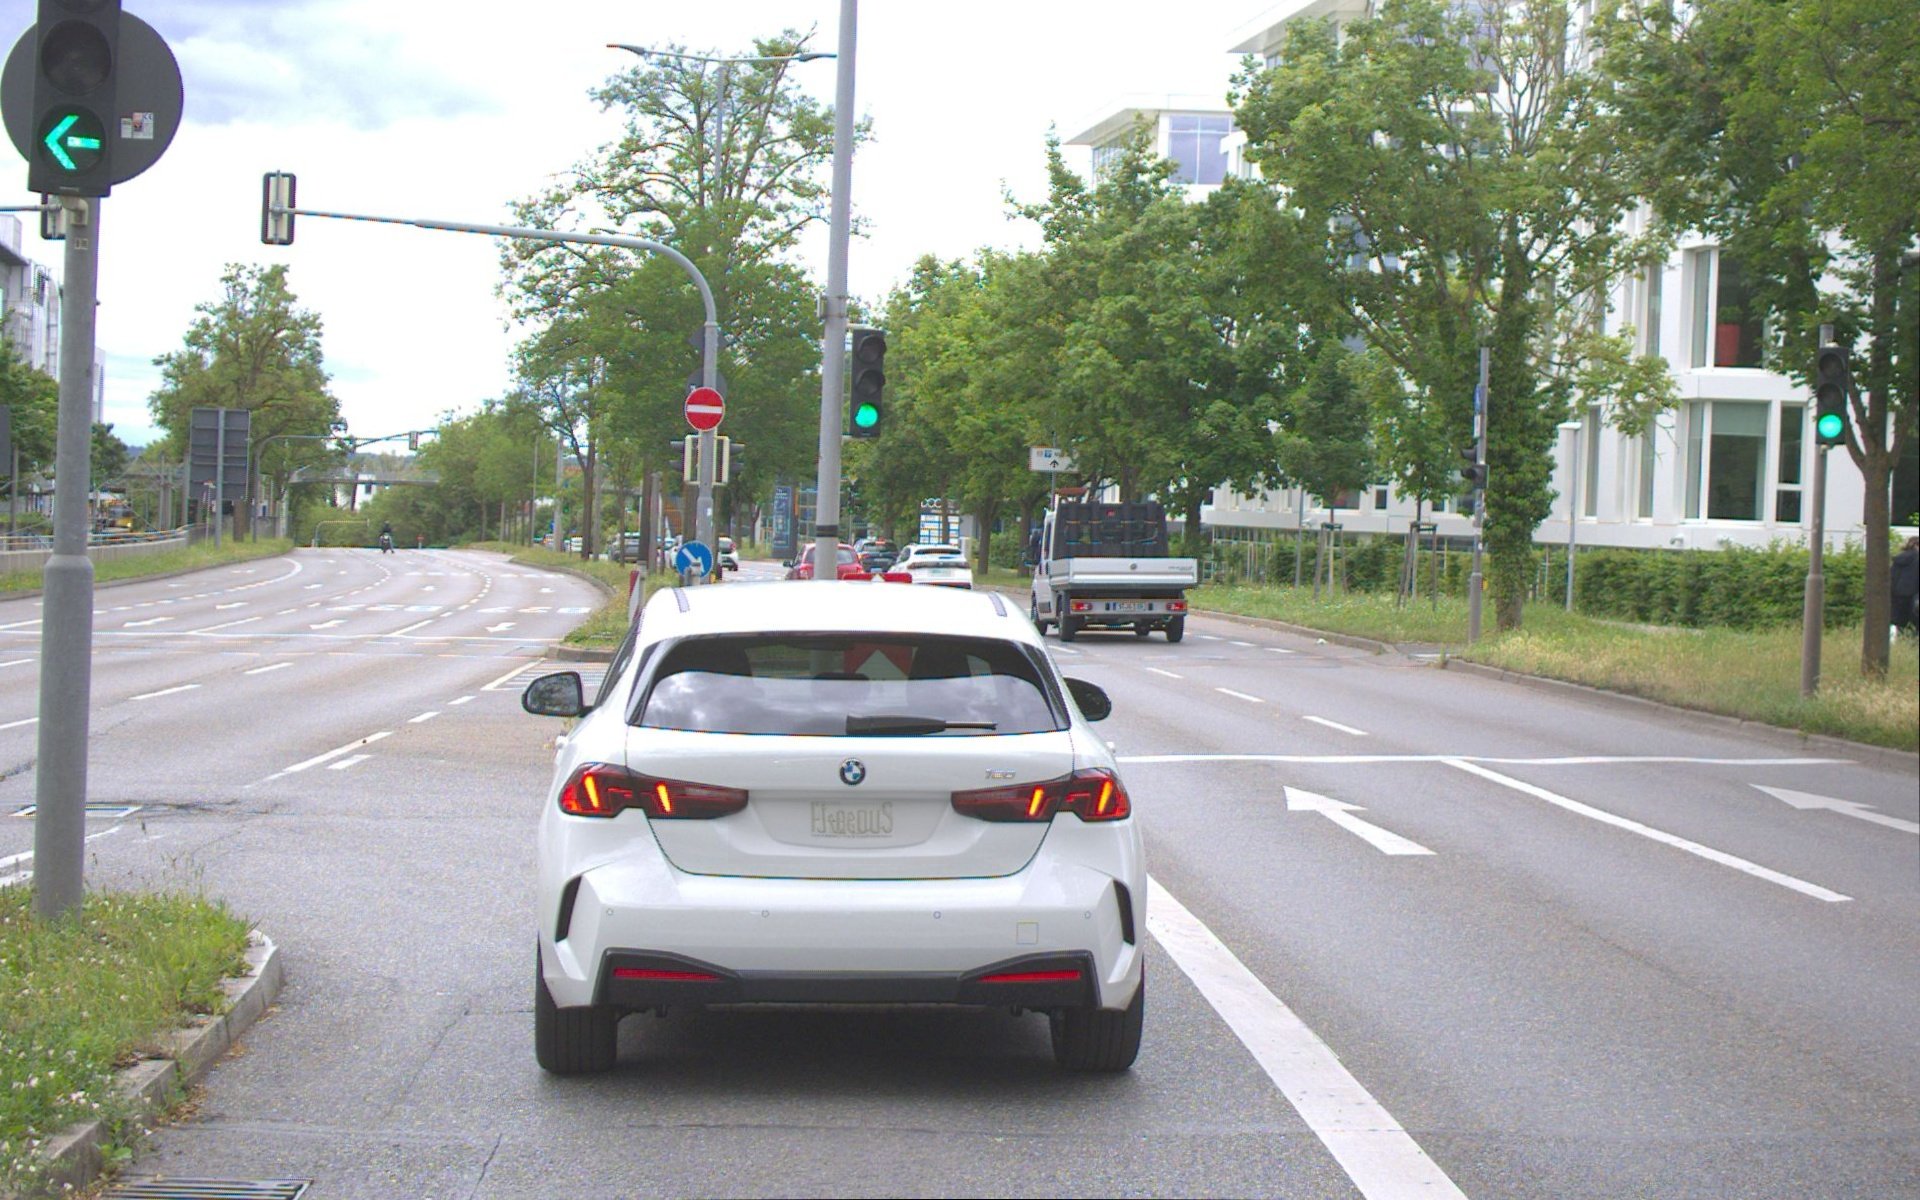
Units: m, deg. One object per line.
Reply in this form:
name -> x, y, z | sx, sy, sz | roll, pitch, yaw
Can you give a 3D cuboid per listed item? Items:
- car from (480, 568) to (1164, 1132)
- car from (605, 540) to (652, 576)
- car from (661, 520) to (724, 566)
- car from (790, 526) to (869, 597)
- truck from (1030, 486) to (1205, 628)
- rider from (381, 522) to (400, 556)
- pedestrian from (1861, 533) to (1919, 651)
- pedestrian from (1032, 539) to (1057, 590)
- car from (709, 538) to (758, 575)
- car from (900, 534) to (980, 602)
car -> -0.374, 0.663, 11.366 | 1.822, 1.433, 4.000 | 2, 1, 0
car -> -15.312, -1.946, 158.575 | 1.891, 1.590, 4.315 | 2, 1, -9
car -> -9.558, -2.015, 122.410 | 1.854, 1.590, 4.315 | 1, 1, -9
car -> -2.997, -0.877, 78.251 | 1.716, 1.553, 3.858 | 0, 1, -3
truck -> 2.559, -0.720, 57.424 | 2.211, 2.196, 5.845 | 1, 1, -4
rider -> -30.345, -3.232, 183.226 | 0.846, 1.765, 0.808 | 1, 0, -3
pedestrian -> 11.817, -0.096, 42.956 | 0.789, 1.443, 1.112 | 1, 0, -1
pedestrian -> 3.340, -1.410, 135.683 | 0.762, 2.007, 0.754 | 1, 0, -14
car -> -9.946, -1.917, 150.619 | 1.854, 1.590, 4.315 | 1, 1, -7
car -> -0.496, -0.777, 82.588 | 1.715, 1.550, 4.090 | 1, 1, -3
